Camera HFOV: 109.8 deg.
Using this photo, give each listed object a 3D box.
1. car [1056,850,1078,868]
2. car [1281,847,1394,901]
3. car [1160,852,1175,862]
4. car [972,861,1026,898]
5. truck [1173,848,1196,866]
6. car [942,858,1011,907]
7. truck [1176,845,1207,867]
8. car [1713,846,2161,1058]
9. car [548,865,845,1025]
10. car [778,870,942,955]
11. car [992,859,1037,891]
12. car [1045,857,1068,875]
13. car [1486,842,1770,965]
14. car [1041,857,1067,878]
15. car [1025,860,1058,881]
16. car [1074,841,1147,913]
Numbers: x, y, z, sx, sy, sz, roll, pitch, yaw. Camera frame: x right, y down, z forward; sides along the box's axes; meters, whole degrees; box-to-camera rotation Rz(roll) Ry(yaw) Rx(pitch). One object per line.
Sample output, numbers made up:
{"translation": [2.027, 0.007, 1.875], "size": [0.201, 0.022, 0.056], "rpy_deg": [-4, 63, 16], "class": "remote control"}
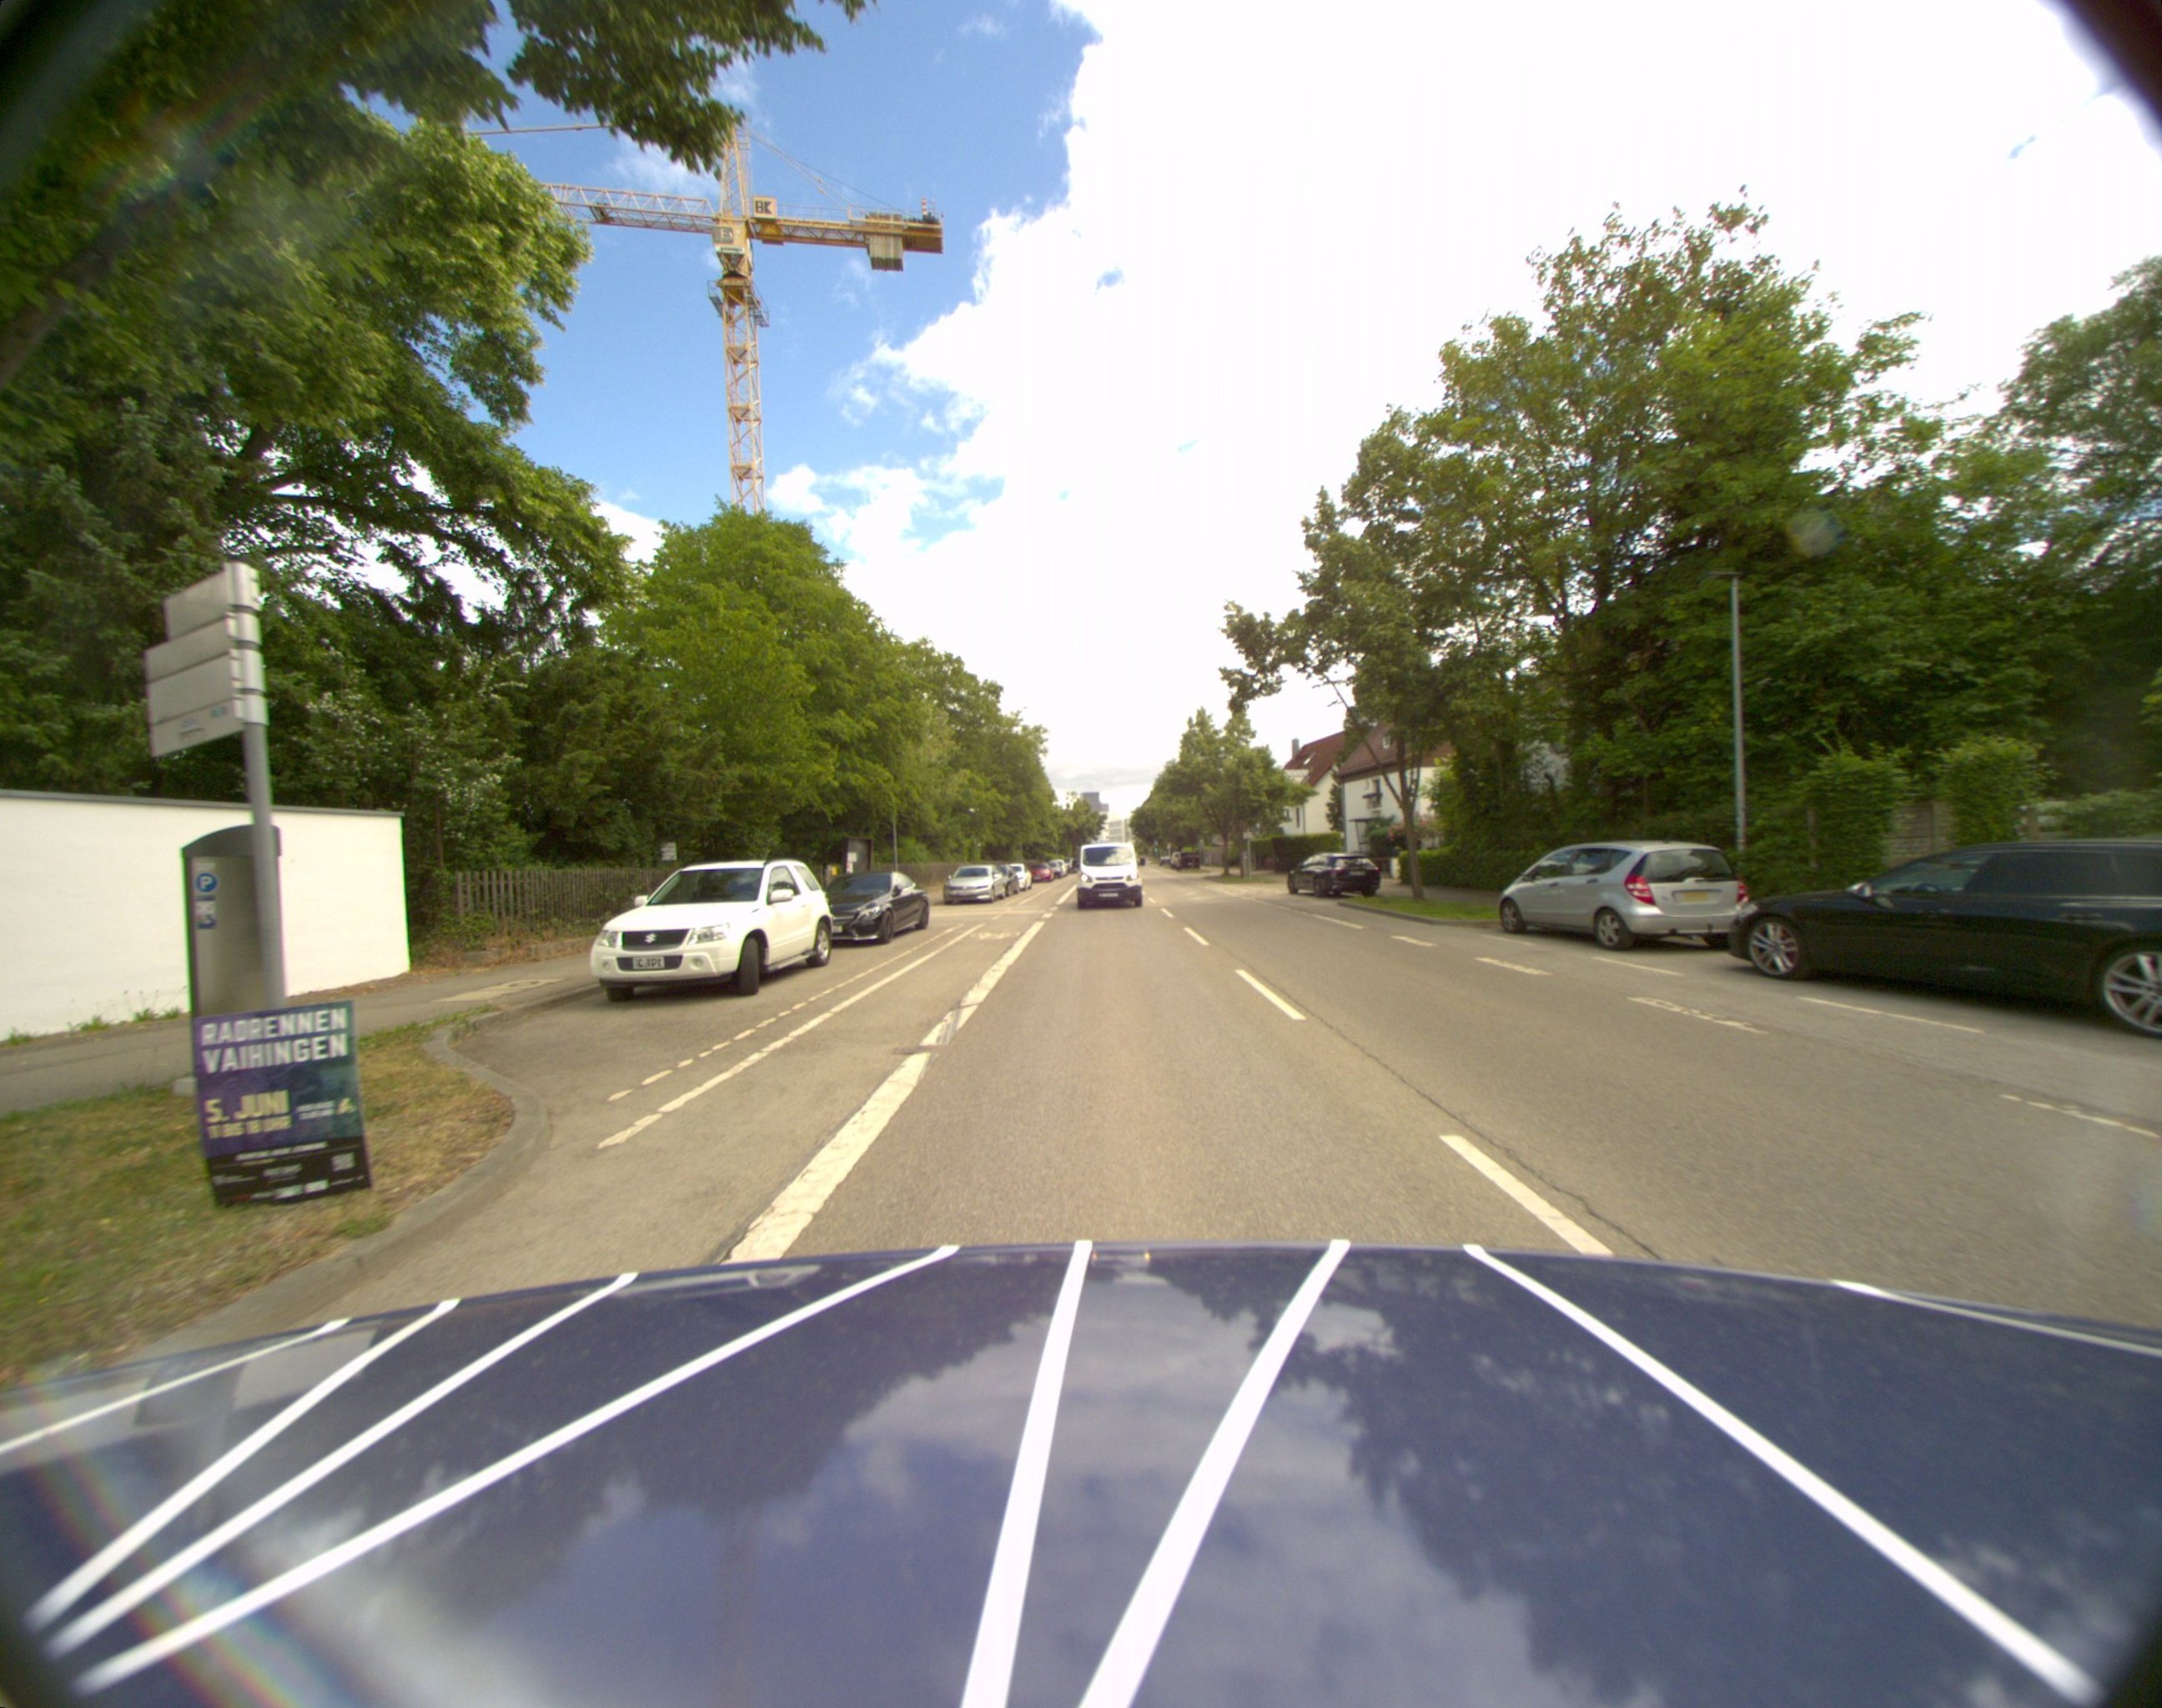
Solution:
{"translation": [-1.502, 0.505, 83.601], "size": [1.998, 1.805, 4.827], "rpy_deg": [-3, 1, 3], "class": "car"}
{"translation": [8.715, 0.644, 26.343], "size": [2.100, 1.637, 5.038], "rpy_deg": [-1, 0, -1], "class": "car"}
{"translation": [12.716, 0.471, 111.997], "size": [1.750, 1.400, 4.928], "rpy_deg": [-1, 0, 2], "class": "car"}
{"translation": [-3.737, 1.142, 35.364], "size": [1.706, 1.501, 4.538], "rpy_deg": [-3, 0, 3], "class": "car"}
{"translation": [11.268, 0.309, 83.057], "size": [1.971, 1.857, 5.665], "rpy_deg": [-1, 0, 3], "class": "truck"}
{"translation": [-4.022, 1.046, 29.962], "size": [1.866, 1.601, 4.686], "rpy_deg": [-3, 1, 2], "class": "car"}
{"translation": [10.963, 0.198, 75.948], "size": [2.428, 2.031, 5.996], "rpy_deg": [-2, 0, 2], "class": "truck"}
{"translation": [8.598, 0.686, 6.617], "size": [1.999, 1.476, 4.889], "rpy_deg": [-1, 0, -2], "class": "car"}
{"translation": [-4.908, 1.040, 10.486], "size": [1.905, 1.633, 4.116], "rpy_deg": [-2, 1, 1], "class": "car"}
{"translation": [-4.474, 1.124, 16.199], "size": [1.868, 1.408, 4.603], "rpy_deg": [-2, 0, 3], "class": "car"}
{"translation": [-3.521, 1.086, 41.017], "size": [1.772, 1.501, 4.031], "rpy_deg": [-2, 1, 3], "class": "car"}
{"translation": [-2.286, 1.136, 72.101], "size": [1.867, 1.580, 4.421], "rpy_deg": [-3, 0, 1], "class": "car"}
{"translation": [8.376, 0.660, 12.140], "size": [1.722, 1.603, 3.910], "rpy_deg": [-2, 0, 0], "class": "car"}
{"translation": [-2.316, 1.132, 65.671], "size": [1.820, 1.506, 4.680], "rpy_deg": [-4, 0, 2], "class": "car"}
{"translation": [-2.905, 1.195, 56.271], "size": [1.863, 1.405, 4.444], "rpy_deg": [-4, -1, 3], "class": "car"}
{"translation": [1.003, 0.647, 24.769], "size": [1.998, 2.002, 5.189], "rpy_deg": [-4, 1, 3], "class": "car"}
